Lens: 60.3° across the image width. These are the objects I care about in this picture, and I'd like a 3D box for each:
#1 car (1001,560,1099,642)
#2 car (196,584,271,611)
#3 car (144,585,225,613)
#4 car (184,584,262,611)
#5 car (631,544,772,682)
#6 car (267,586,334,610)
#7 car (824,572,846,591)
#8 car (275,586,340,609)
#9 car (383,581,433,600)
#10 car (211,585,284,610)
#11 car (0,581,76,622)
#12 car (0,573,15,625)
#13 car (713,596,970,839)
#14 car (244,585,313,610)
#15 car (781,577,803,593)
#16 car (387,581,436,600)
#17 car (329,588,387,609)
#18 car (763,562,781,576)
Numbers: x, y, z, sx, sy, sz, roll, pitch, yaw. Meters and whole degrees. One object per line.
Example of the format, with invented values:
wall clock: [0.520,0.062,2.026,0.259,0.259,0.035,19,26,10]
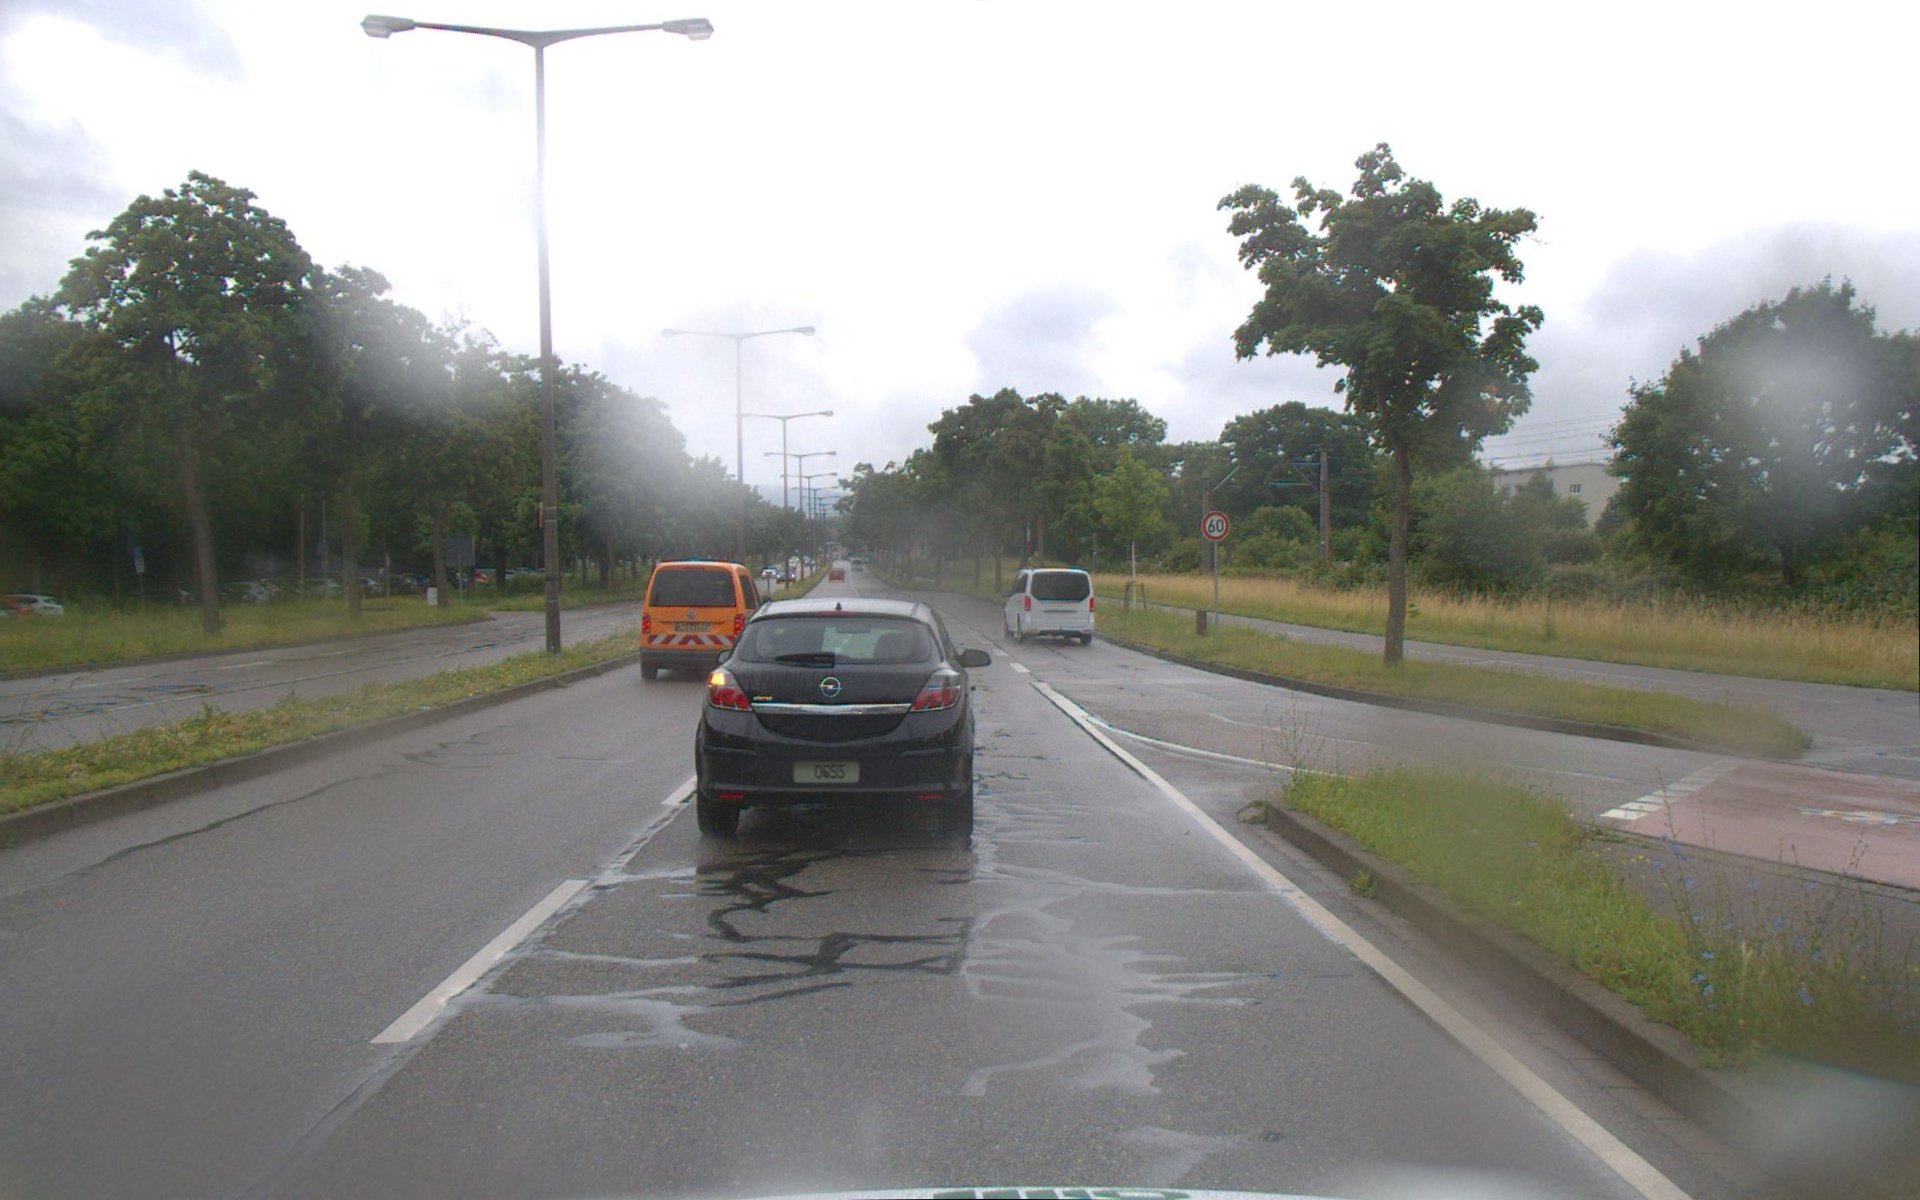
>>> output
car: [2.284,0.016,43.146,2.018,2.009,4.605,1,0,-3]
car: [-42.935,-0.160,97.808,3.763,1.477,1.522,-1,1,-8]
car: [-42.252,-0.081,90.200,3.663,1.451,1.486,-1,1,-8]
car: [-42.493,-0.125,95.390,3.763,1.477,1.522,-1,1,-8]
car: [-4.130,0.163,27.081,1.700,2.054,4.848,0,1,-2]
car: [-43.176,-0.158,108.287,3.763,1.477,1.522,-1,1,-8]
car: [-12.581,-1.863,166.681,1.953,1.912,4.000,0,0,0]
car: [-43.624,-0.162,110.680,3.763,1.477,1.522,-1,1,-8]
car: [-44.536,-0.772,133.494,3.776,1.477,1.517,-1,1,-18]
car: [-43.269,-0.162,100.469,3.763,1.477,1.522,-1,1,-8]
car: [-39.983,0.065,70.175,3.912,1.668,1.909,-1,1,-8]
car: [-39.776,-0.019,65.174,3.912,2.048,1.997,-1,1,-8]
car: [-0.668,0.658,11.184,1.433,1.352,3.757,0,0,0]
car: [-43.504,-0.180,105.654,3.763,1.477,1.522,-1,1,-8]
car: [-15.717,-1.420,154.677,1.790,1.475,3.807,0,1,-2]
car: [-44.822,-0.793,135.289,3.776,1.477,1.517,-1,1,-18]
car: [-44.748,-0.135,123.034,3.763,1.477,1.522,-1,1,-8]
car: [-21.365,-3.543,188.238,1.686,1.556,3.808,0,2,-2]
